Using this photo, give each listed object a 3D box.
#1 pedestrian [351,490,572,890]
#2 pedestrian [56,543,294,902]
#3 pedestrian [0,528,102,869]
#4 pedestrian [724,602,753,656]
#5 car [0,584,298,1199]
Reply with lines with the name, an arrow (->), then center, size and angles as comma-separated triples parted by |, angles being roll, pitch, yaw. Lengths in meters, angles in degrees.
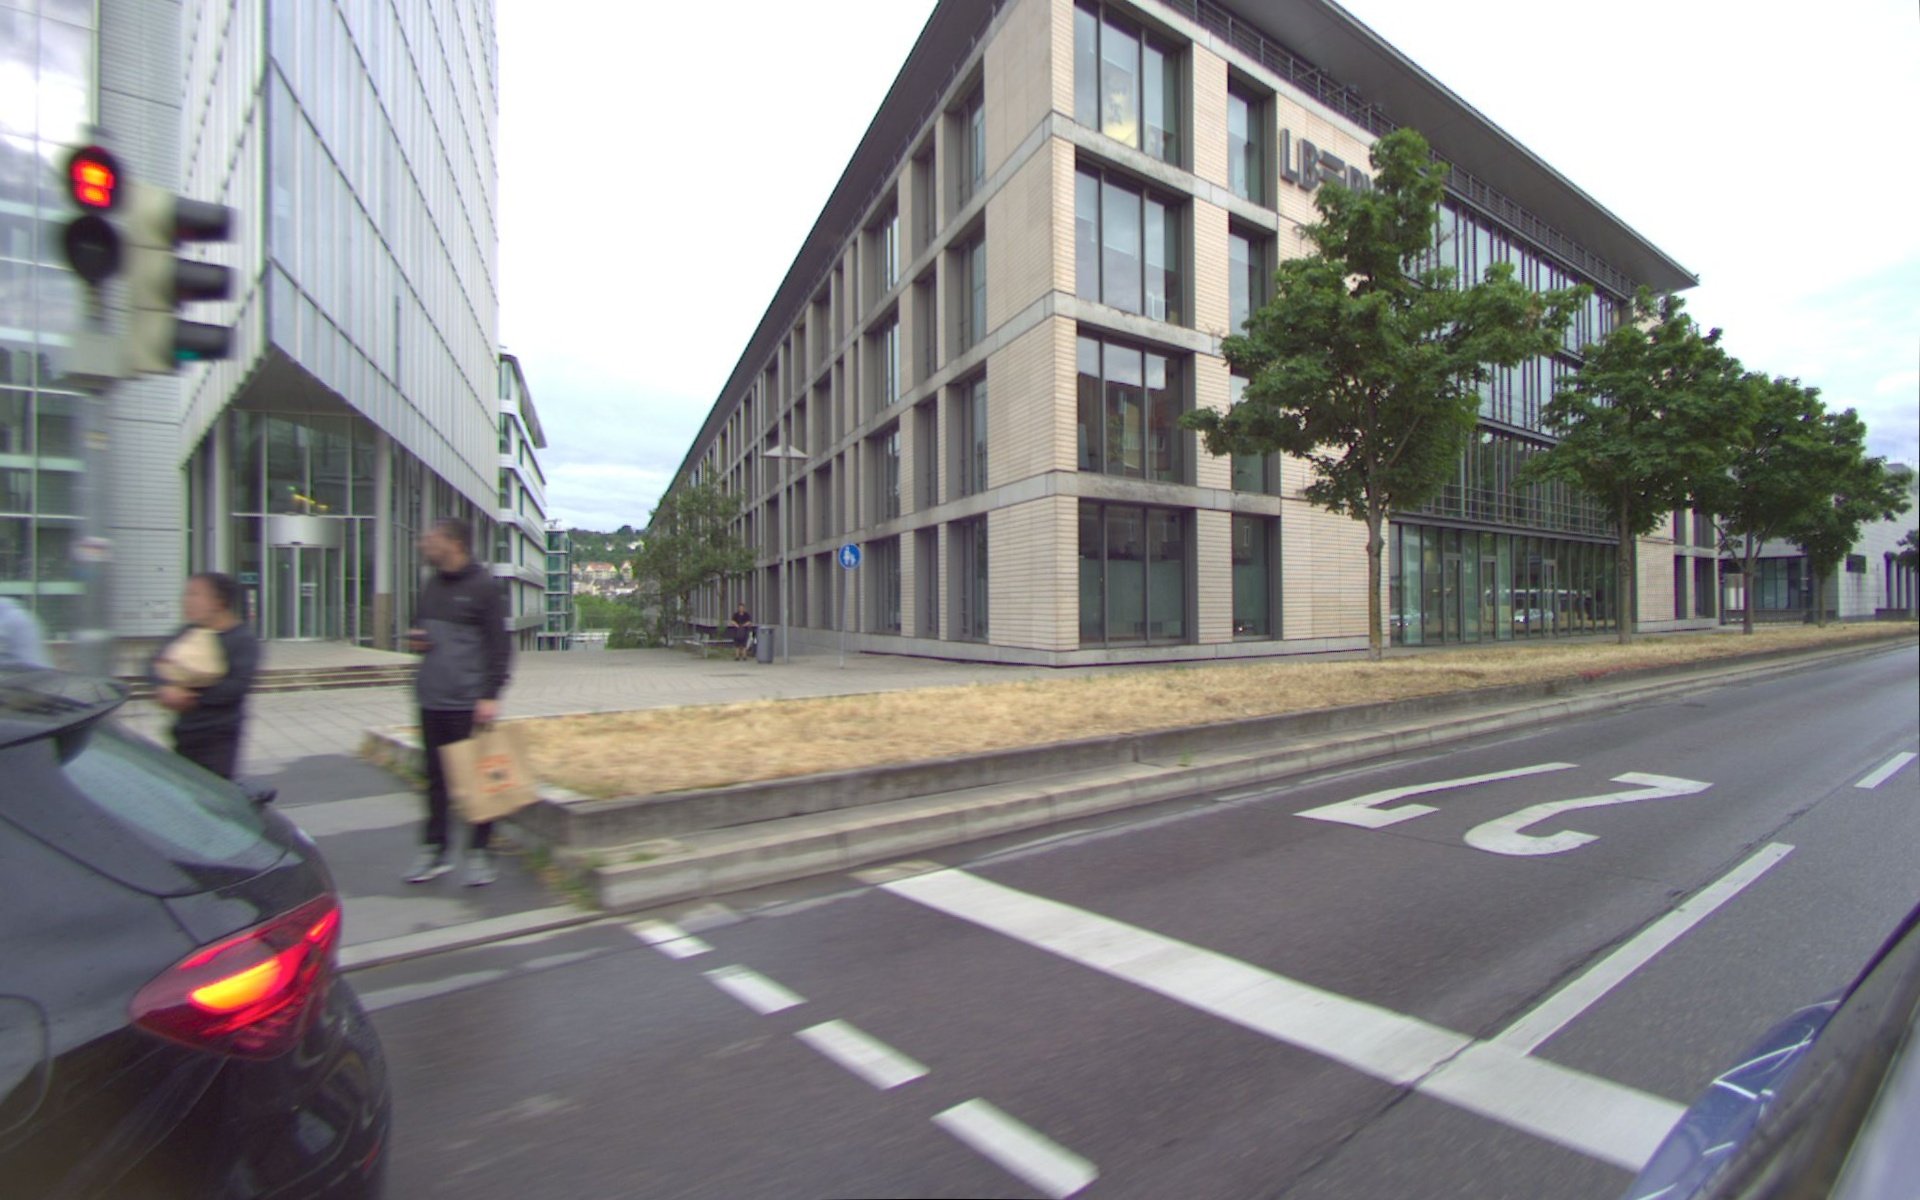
pedestrian -> -2.476, 0.418, 5.081 | 0.769, 1.865, 0.550 | 2, -1, 6
pedestrian -> -3.708, 0.556, 4.828 | 0.657, 1.598, 0.552 | 2, -1, -6
pedestrian -> -4.828, 0.452, 5.001 | 0.657, 1.598, 0.552 | 2, -1, -6
pedestrian -> -7.231, 0.938, 33.029 | 0.850, 1.743, 0.552 | 2, -1, -17
car -> -3.115, 0.714, 0.810 | 4.132, 1.454, 1.876 | -1, 1, -41
